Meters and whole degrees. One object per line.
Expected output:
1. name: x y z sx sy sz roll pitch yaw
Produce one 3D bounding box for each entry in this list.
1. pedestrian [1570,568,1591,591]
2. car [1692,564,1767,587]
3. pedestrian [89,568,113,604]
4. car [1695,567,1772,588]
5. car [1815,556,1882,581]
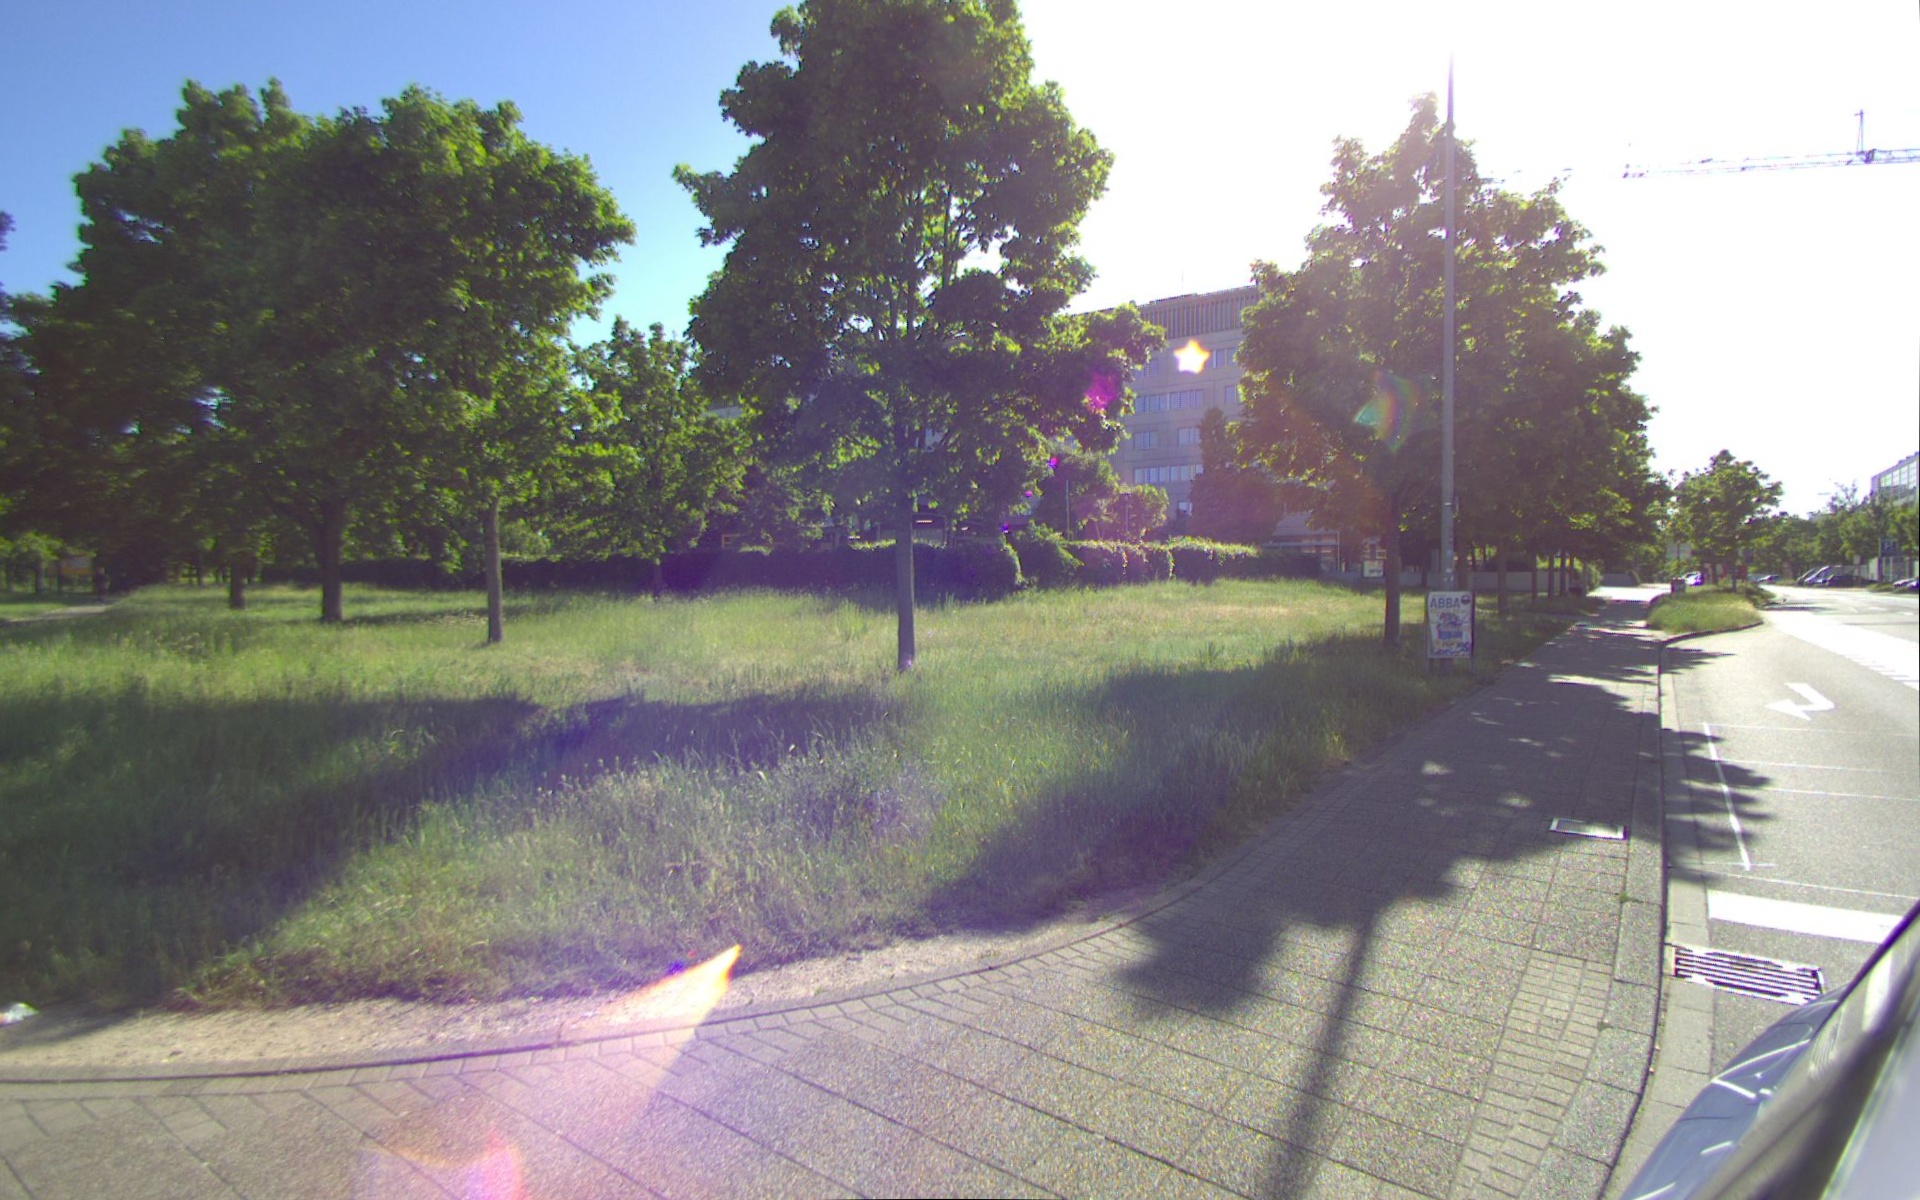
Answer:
1. pedestrian: 33.247 -1.094 54.239 0.838 1.232 0.723 1 2 24
2. car: 57.497 -1.865 75.754 4.390 1.661 2.048 2 2 36
3. pedestrian: -42.160 -0.716 49.682 0.885 1.748 0.729 1 1 39
4. car: 56.339 -1.685 73.806 4.390 1.481 1.871 2 2 37
5. car: 100.889 -3.523 114.991 5.557 2.514 1.983 -2 0 39
